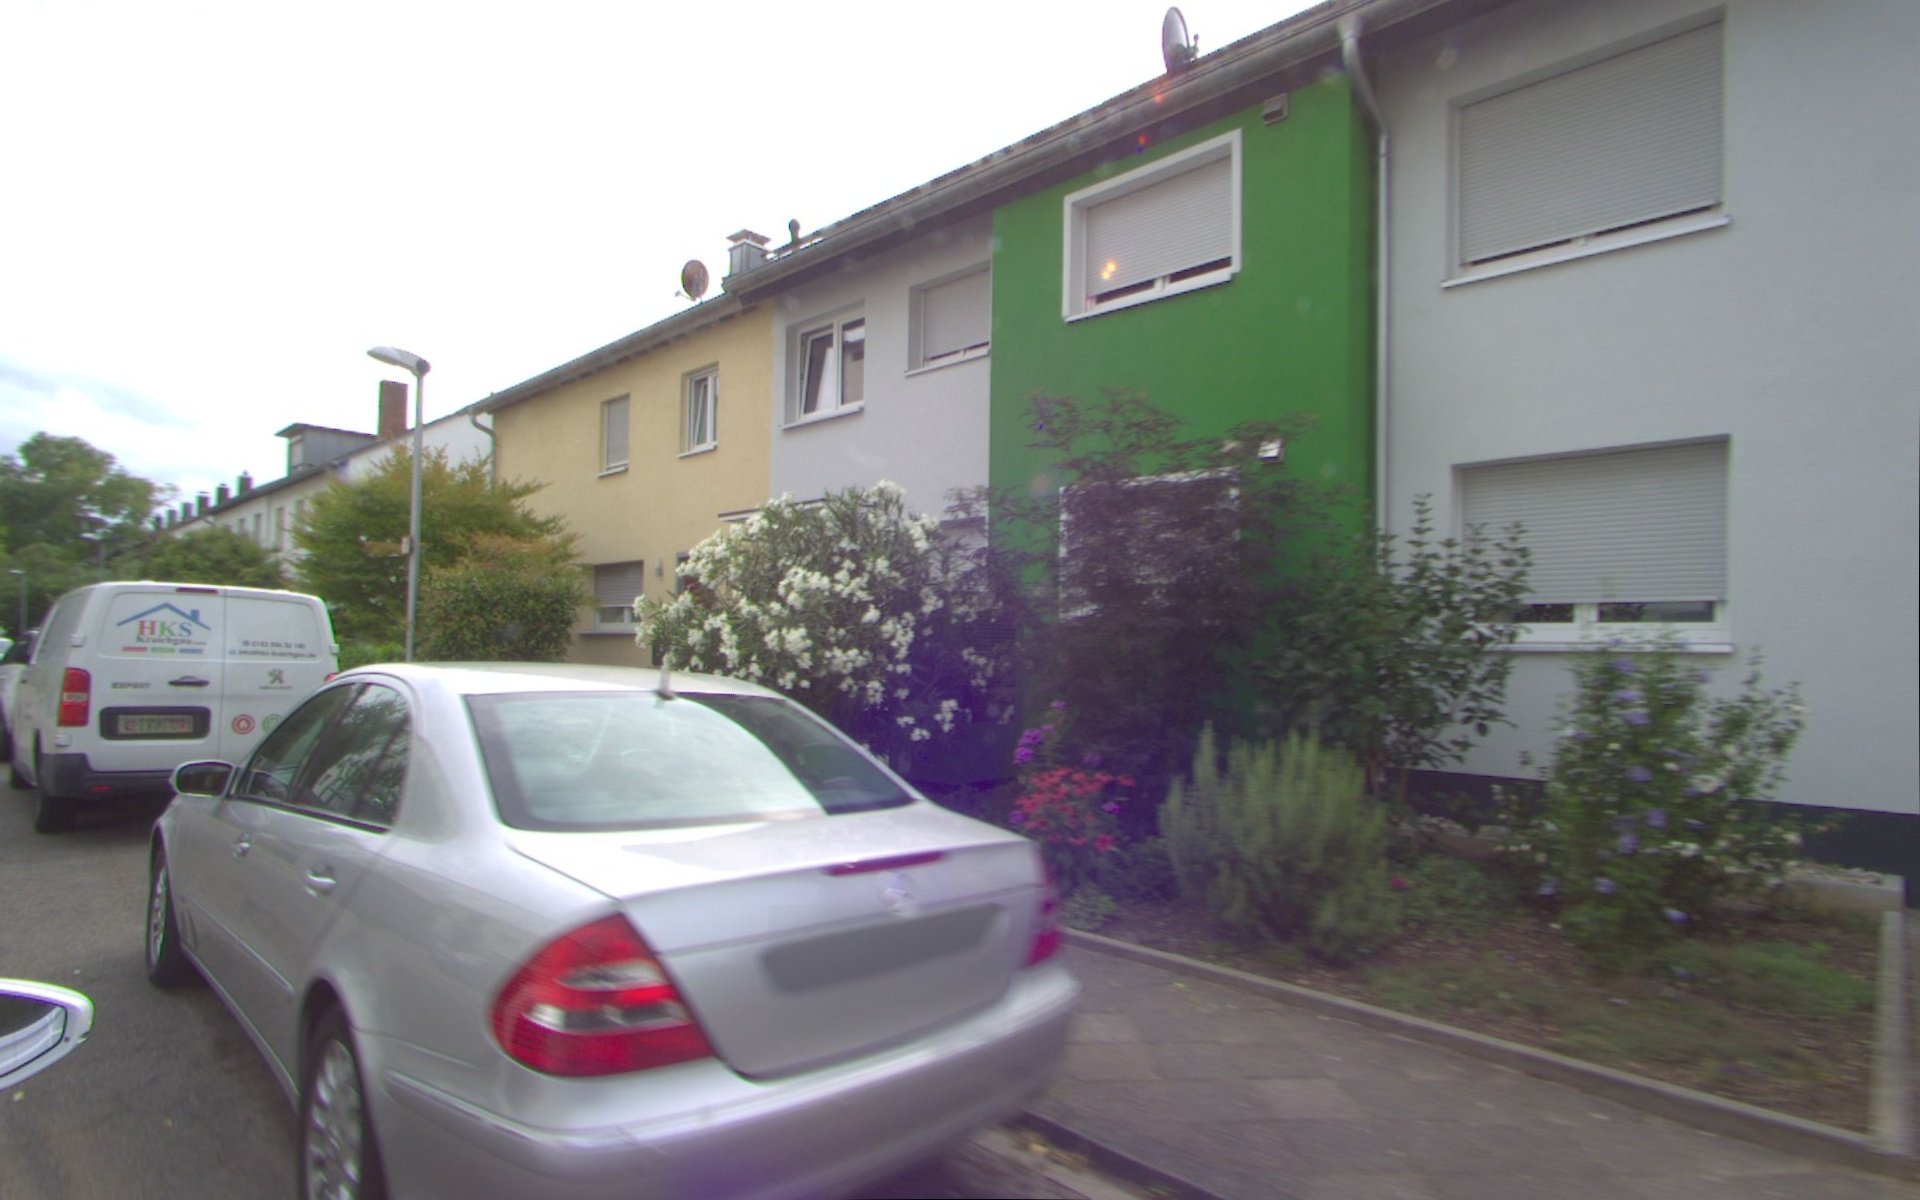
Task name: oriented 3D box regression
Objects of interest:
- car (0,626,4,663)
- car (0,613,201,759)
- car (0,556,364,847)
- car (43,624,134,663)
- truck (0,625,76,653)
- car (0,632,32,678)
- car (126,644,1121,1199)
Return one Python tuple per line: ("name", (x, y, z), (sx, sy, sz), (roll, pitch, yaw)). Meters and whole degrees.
("car", (-44.338, 1.914, 44.864), (3.956, 1.600, 1.817), (-1, -5, 43))
("car", (-11.873, 1.082, 13.433), (4.114, 1.655, 1.818), (-1, -5, 41))
("car", (-7.501, 0.812, 9.353), (5.198, 1.988, 1.895), (-1, -5, 43))
("car", (-37.591, 1.851, 43.214), (1.721, 1.589, 2.803), (-1, -1, 41))
("truck", (-68.780, 2.894, 74.521), (1.979, 2.039, 4.367), (-1, -2, 43))
("car", (-31.243, 1.696, 32.193), (4.286, 1.386, 1.816), (-1, -6, 45))
("car", (-1.725, 0.946, 3.778), (1.774, 1.438, 4.411), (6, -5, -44))
